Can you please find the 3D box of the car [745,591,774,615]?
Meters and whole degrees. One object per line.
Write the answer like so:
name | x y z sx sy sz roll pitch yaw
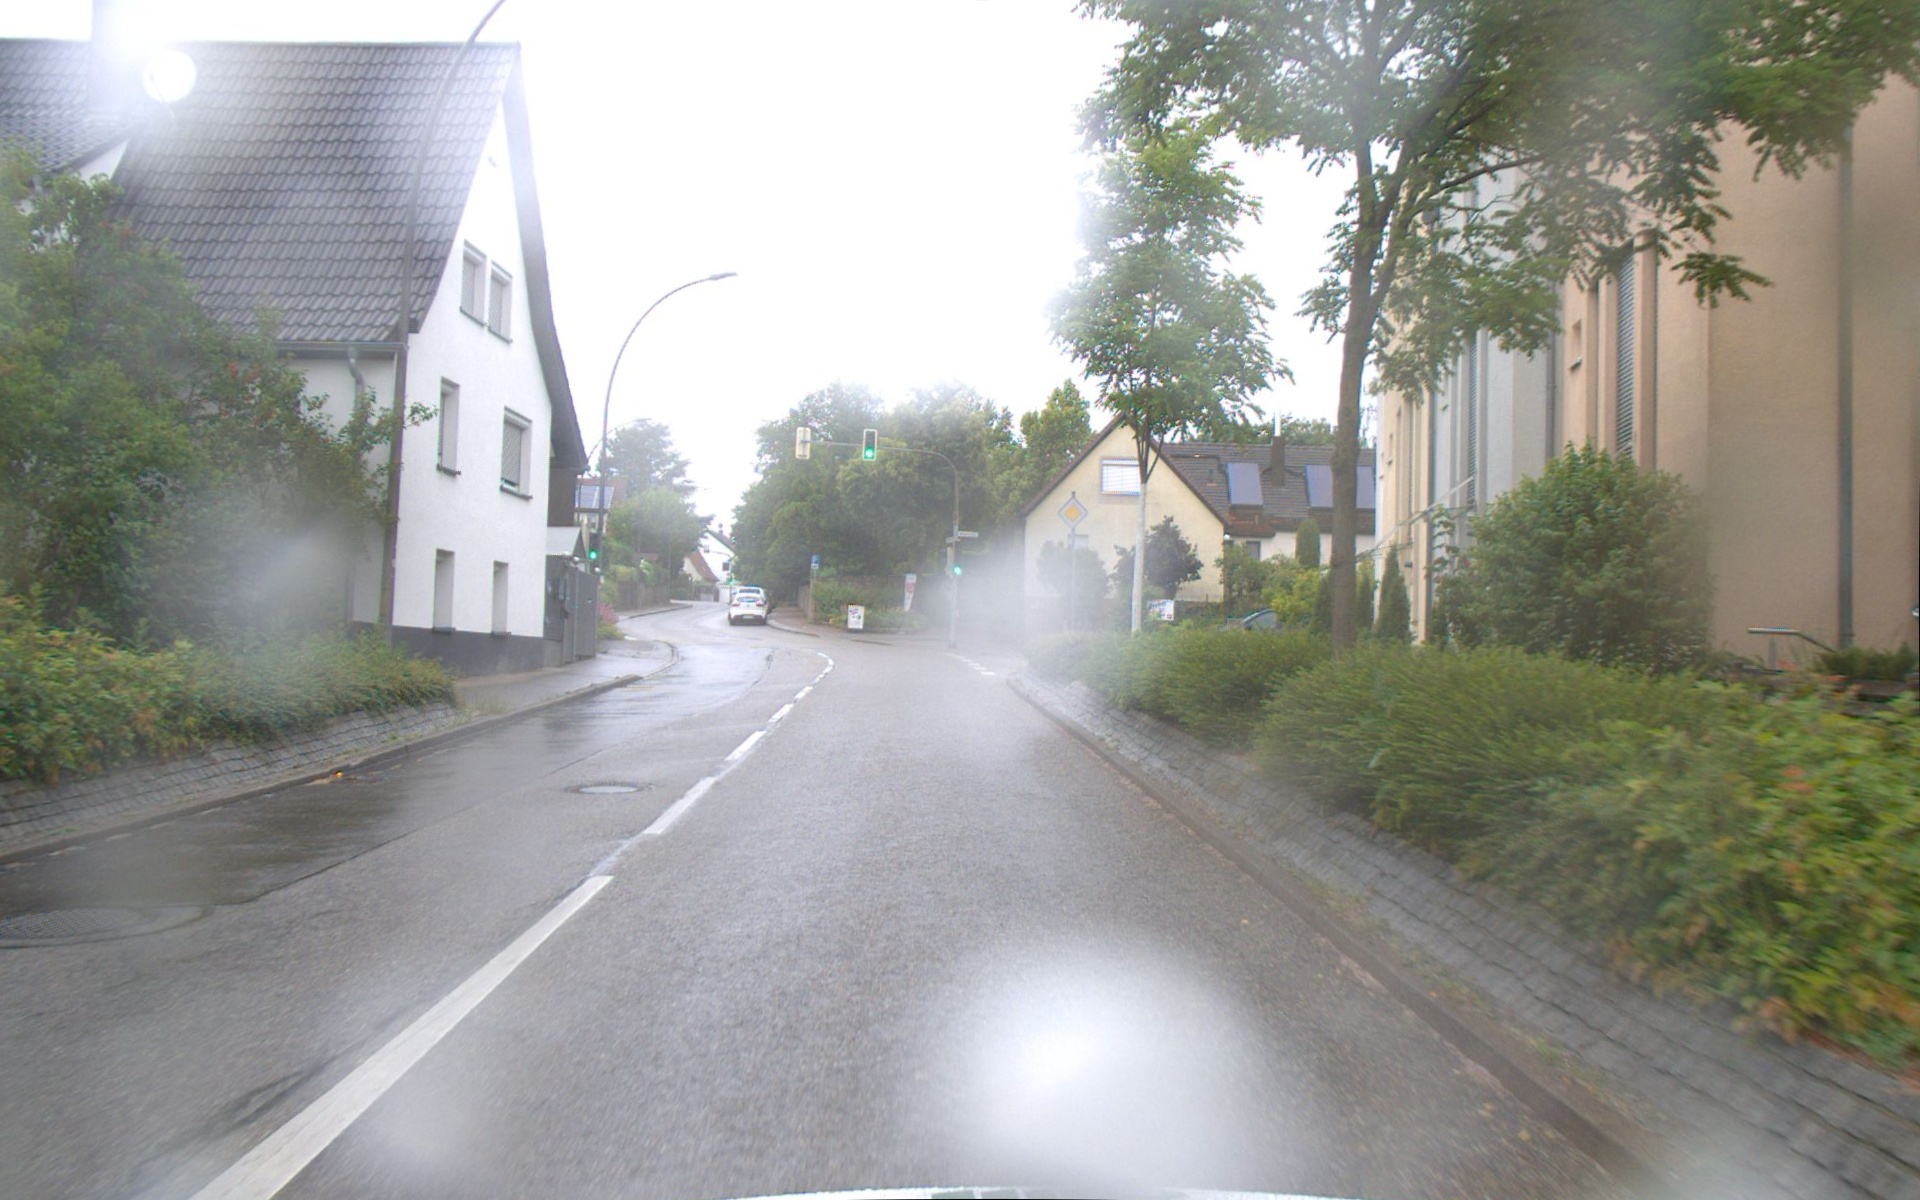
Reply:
car | -13.767 0.237 113.792 1.779 1.601 3.876 1 -1 -4

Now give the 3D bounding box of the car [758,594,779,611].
car | -16.169 0.192 139.591 1.621 1.395 4.174 1 0 -8

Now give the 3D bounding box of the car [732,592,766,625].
car | -10.348 0.398 80.874 1.581 1.506 4.031 2 0 -8

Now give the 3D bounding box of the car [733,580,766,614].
car | -11.656 -0.159 91.817 1.605 1.771 4.131 1 0 -5

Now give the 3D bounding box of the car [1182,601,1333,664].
car | 8.343 0.911 46.561 4.044 1.613 1.866 2 -1 9
